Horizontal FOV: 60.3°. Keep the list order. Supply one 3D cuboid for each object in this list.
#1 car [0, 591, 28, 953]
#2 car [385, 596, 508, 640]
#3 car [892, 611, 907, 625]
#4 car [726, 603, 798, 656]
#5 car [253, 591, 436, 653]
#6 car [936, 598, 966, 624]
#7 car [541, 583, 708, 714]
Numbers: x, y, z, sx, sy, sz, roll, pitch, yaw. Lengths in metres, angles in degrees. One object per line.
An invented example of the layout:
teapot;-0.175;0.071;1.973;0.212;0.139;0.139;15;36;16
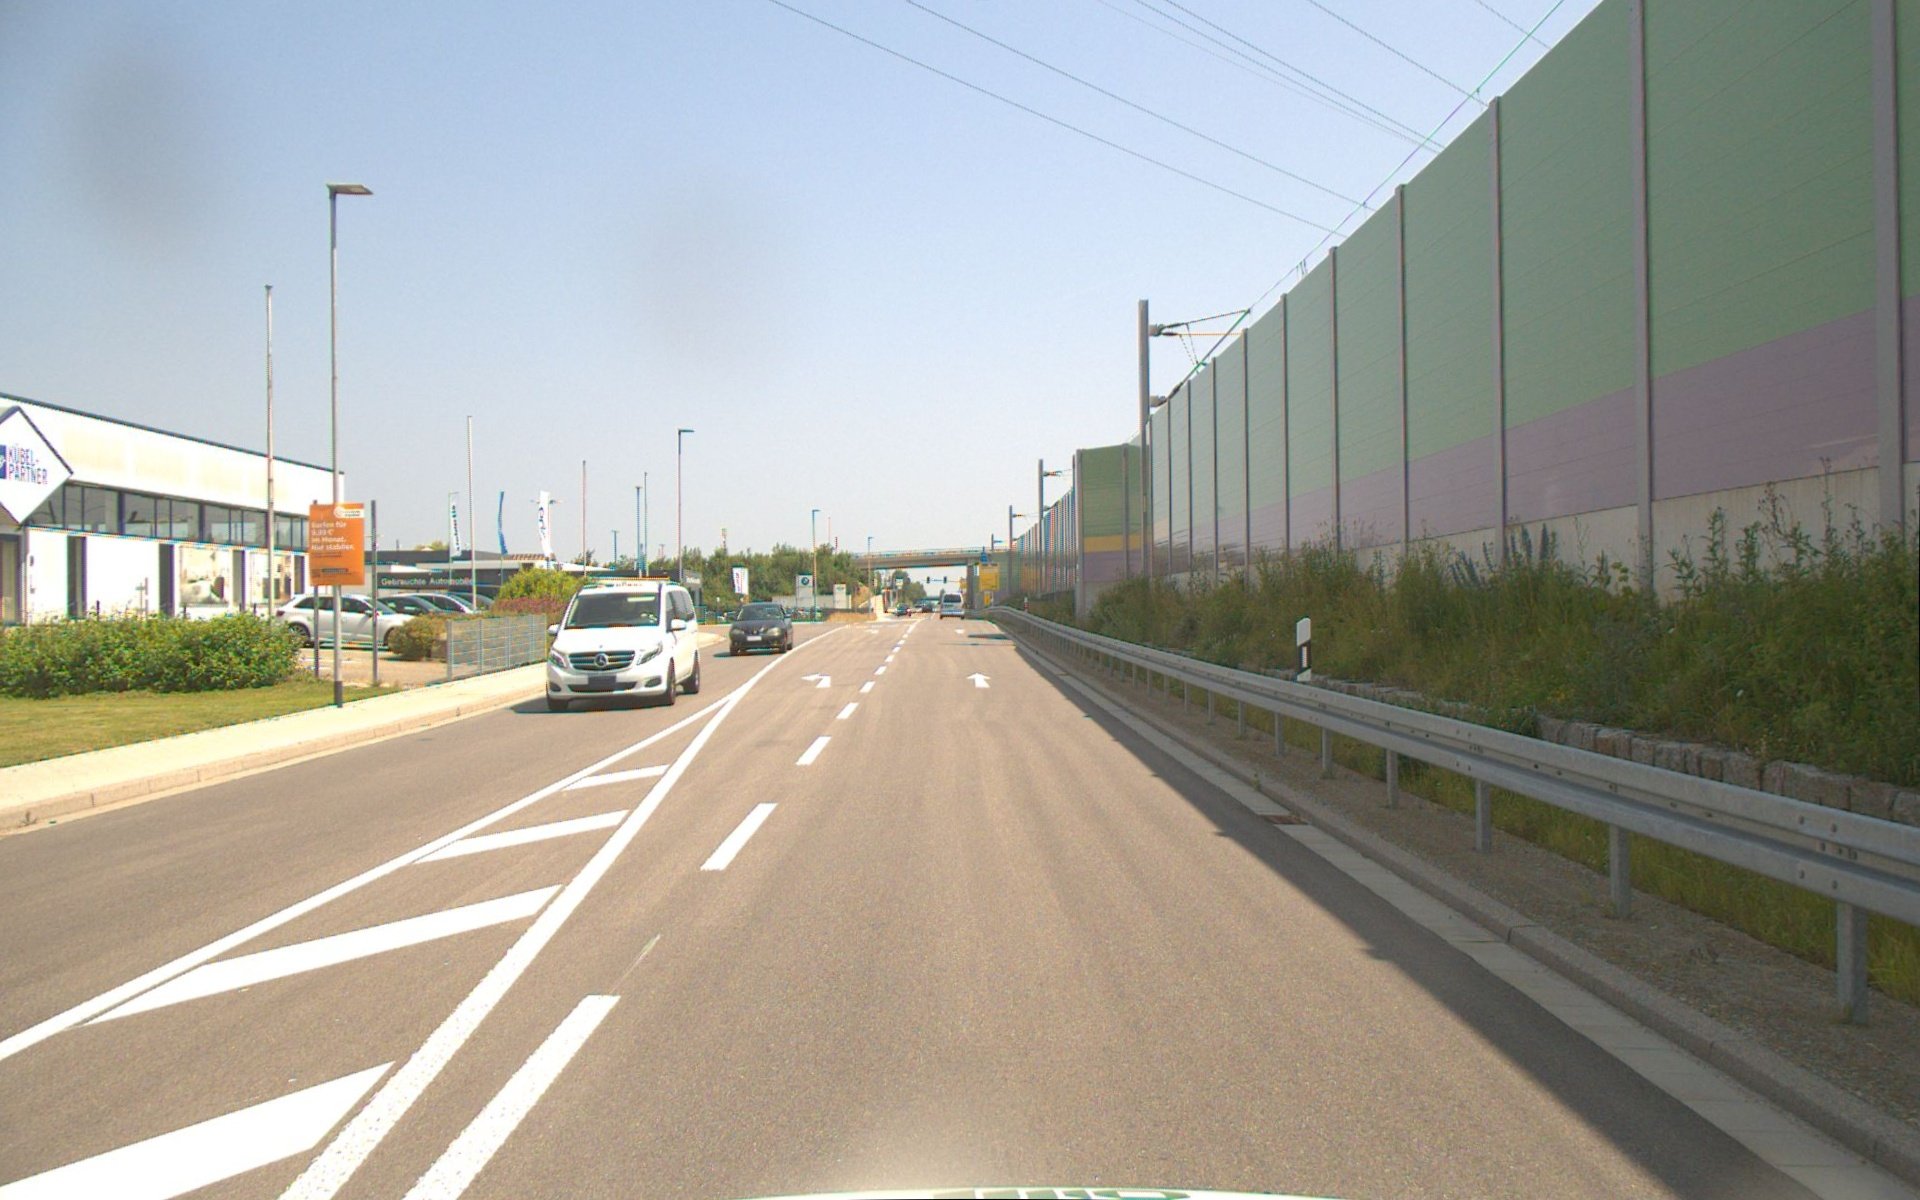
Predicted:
car;-5.137;0.810;5.656;1.635;1.628;3.972;-3;0;-1
car;-16.405;0.558;52.944;3.439;1.276;1.504;2;0;-3
car;-7.970;2.388;217.531;1.839;1.702;4.290;-1;0;0
car;-5.690;0.823;47.864;1.637;1.448;3.999;-1;0;-1
car;-16.313;0.575;43.987;4.139;1.481;1.763;2;0;-3
car;-0.589;0.763;115.016;1.952;1.788;4.000;-1;0;1
car;-5.426;0.741;27.388;1.954;1.907;5.166;-2;0;-3
